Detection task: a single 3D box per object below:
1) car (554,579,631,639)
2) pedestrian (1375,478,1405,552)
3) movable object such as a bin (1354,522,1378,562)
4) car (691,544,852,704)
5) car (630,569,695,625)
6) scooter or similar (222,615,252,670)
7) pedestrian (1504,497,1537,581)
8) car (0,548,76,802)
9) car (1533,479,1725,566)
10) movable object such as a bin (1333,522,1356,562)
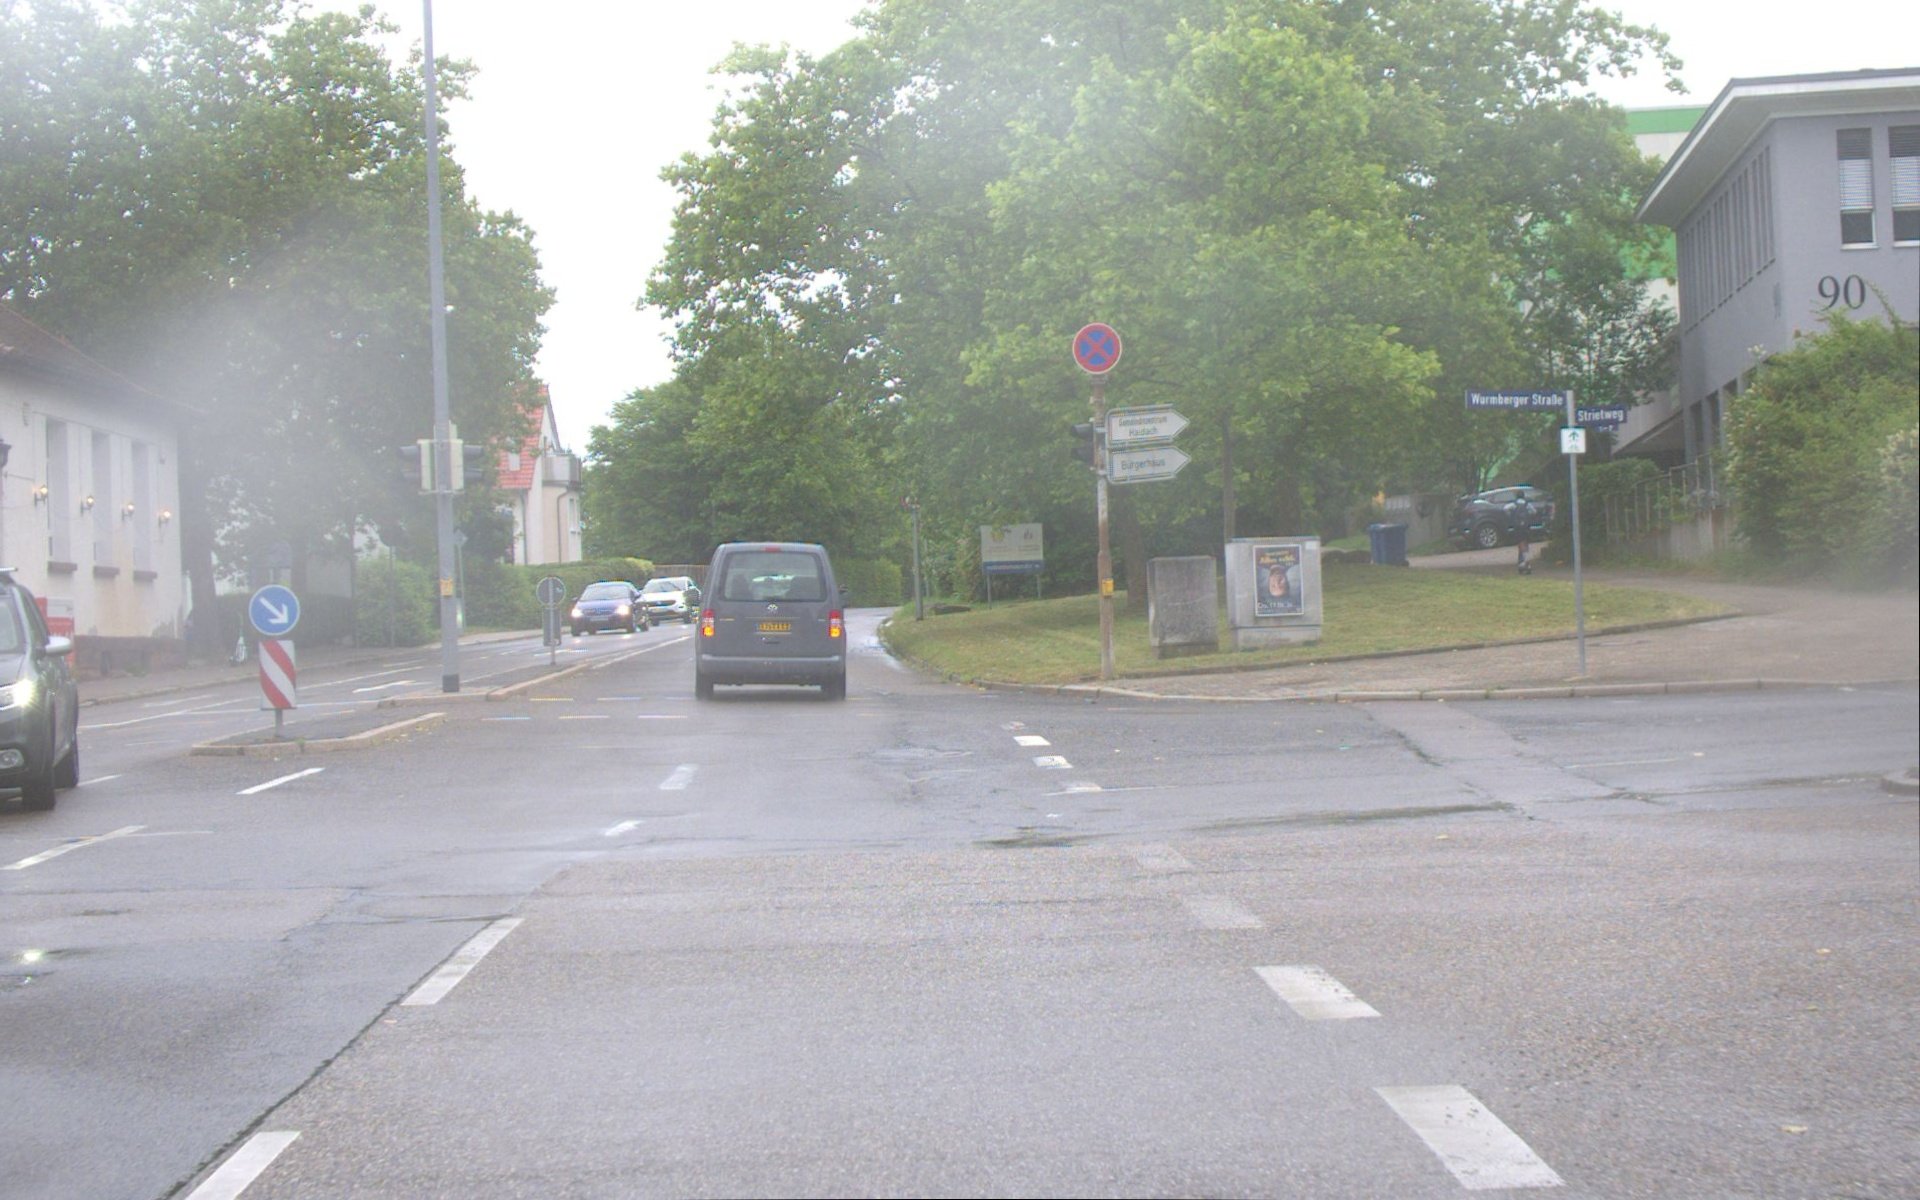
[{"bbox_3d":[-10.332,0.234,96.819,1.793,1.522,4.209,-2,1,-2],"label":"car"},{"bbox_3d":[10.321,-2.048,82.520,0.557,1.757,0.728,0,0,-4],"label":"pedestrian"},{"bbox_3d":[9.250,-1.319,78.309,0.450,0.902,0.462,0,0,16],"label":"movable object such as a bin"},{"bbox_3d":[-2.223,0.267,40.814,1.812,1.802,3.757,0,0,-3],"label":"car"},{"bbox_3d":[-9.753,-0.111,113.057,1.830,1.666,4.051,-2,1,-2],"label":"car"},{"bbox_3d":[-14.371,0.845,68.326,0.389,1.061,1.410,0,0,-4],"label":"scooter or similar"},{"bbox_3d":[10.888,-1.182,66.787,0.601,1.611,0.525,0,0,7],"label":"pedestrian"},{"bbox_3d":[-7.083,0.469,23.540,1.898,1.572,4.504,-3,1,-14],"label":"car"},{"bbox_3d":[14.463,-1.664,74.528,3.988,1.809,1.999,0,0,9],"label":"car"},{"bbox_3d":[8.782,-1.317,78.453,0.450,0.902,0.462,0,0,16],"label":"movable object such as a bin"}]
